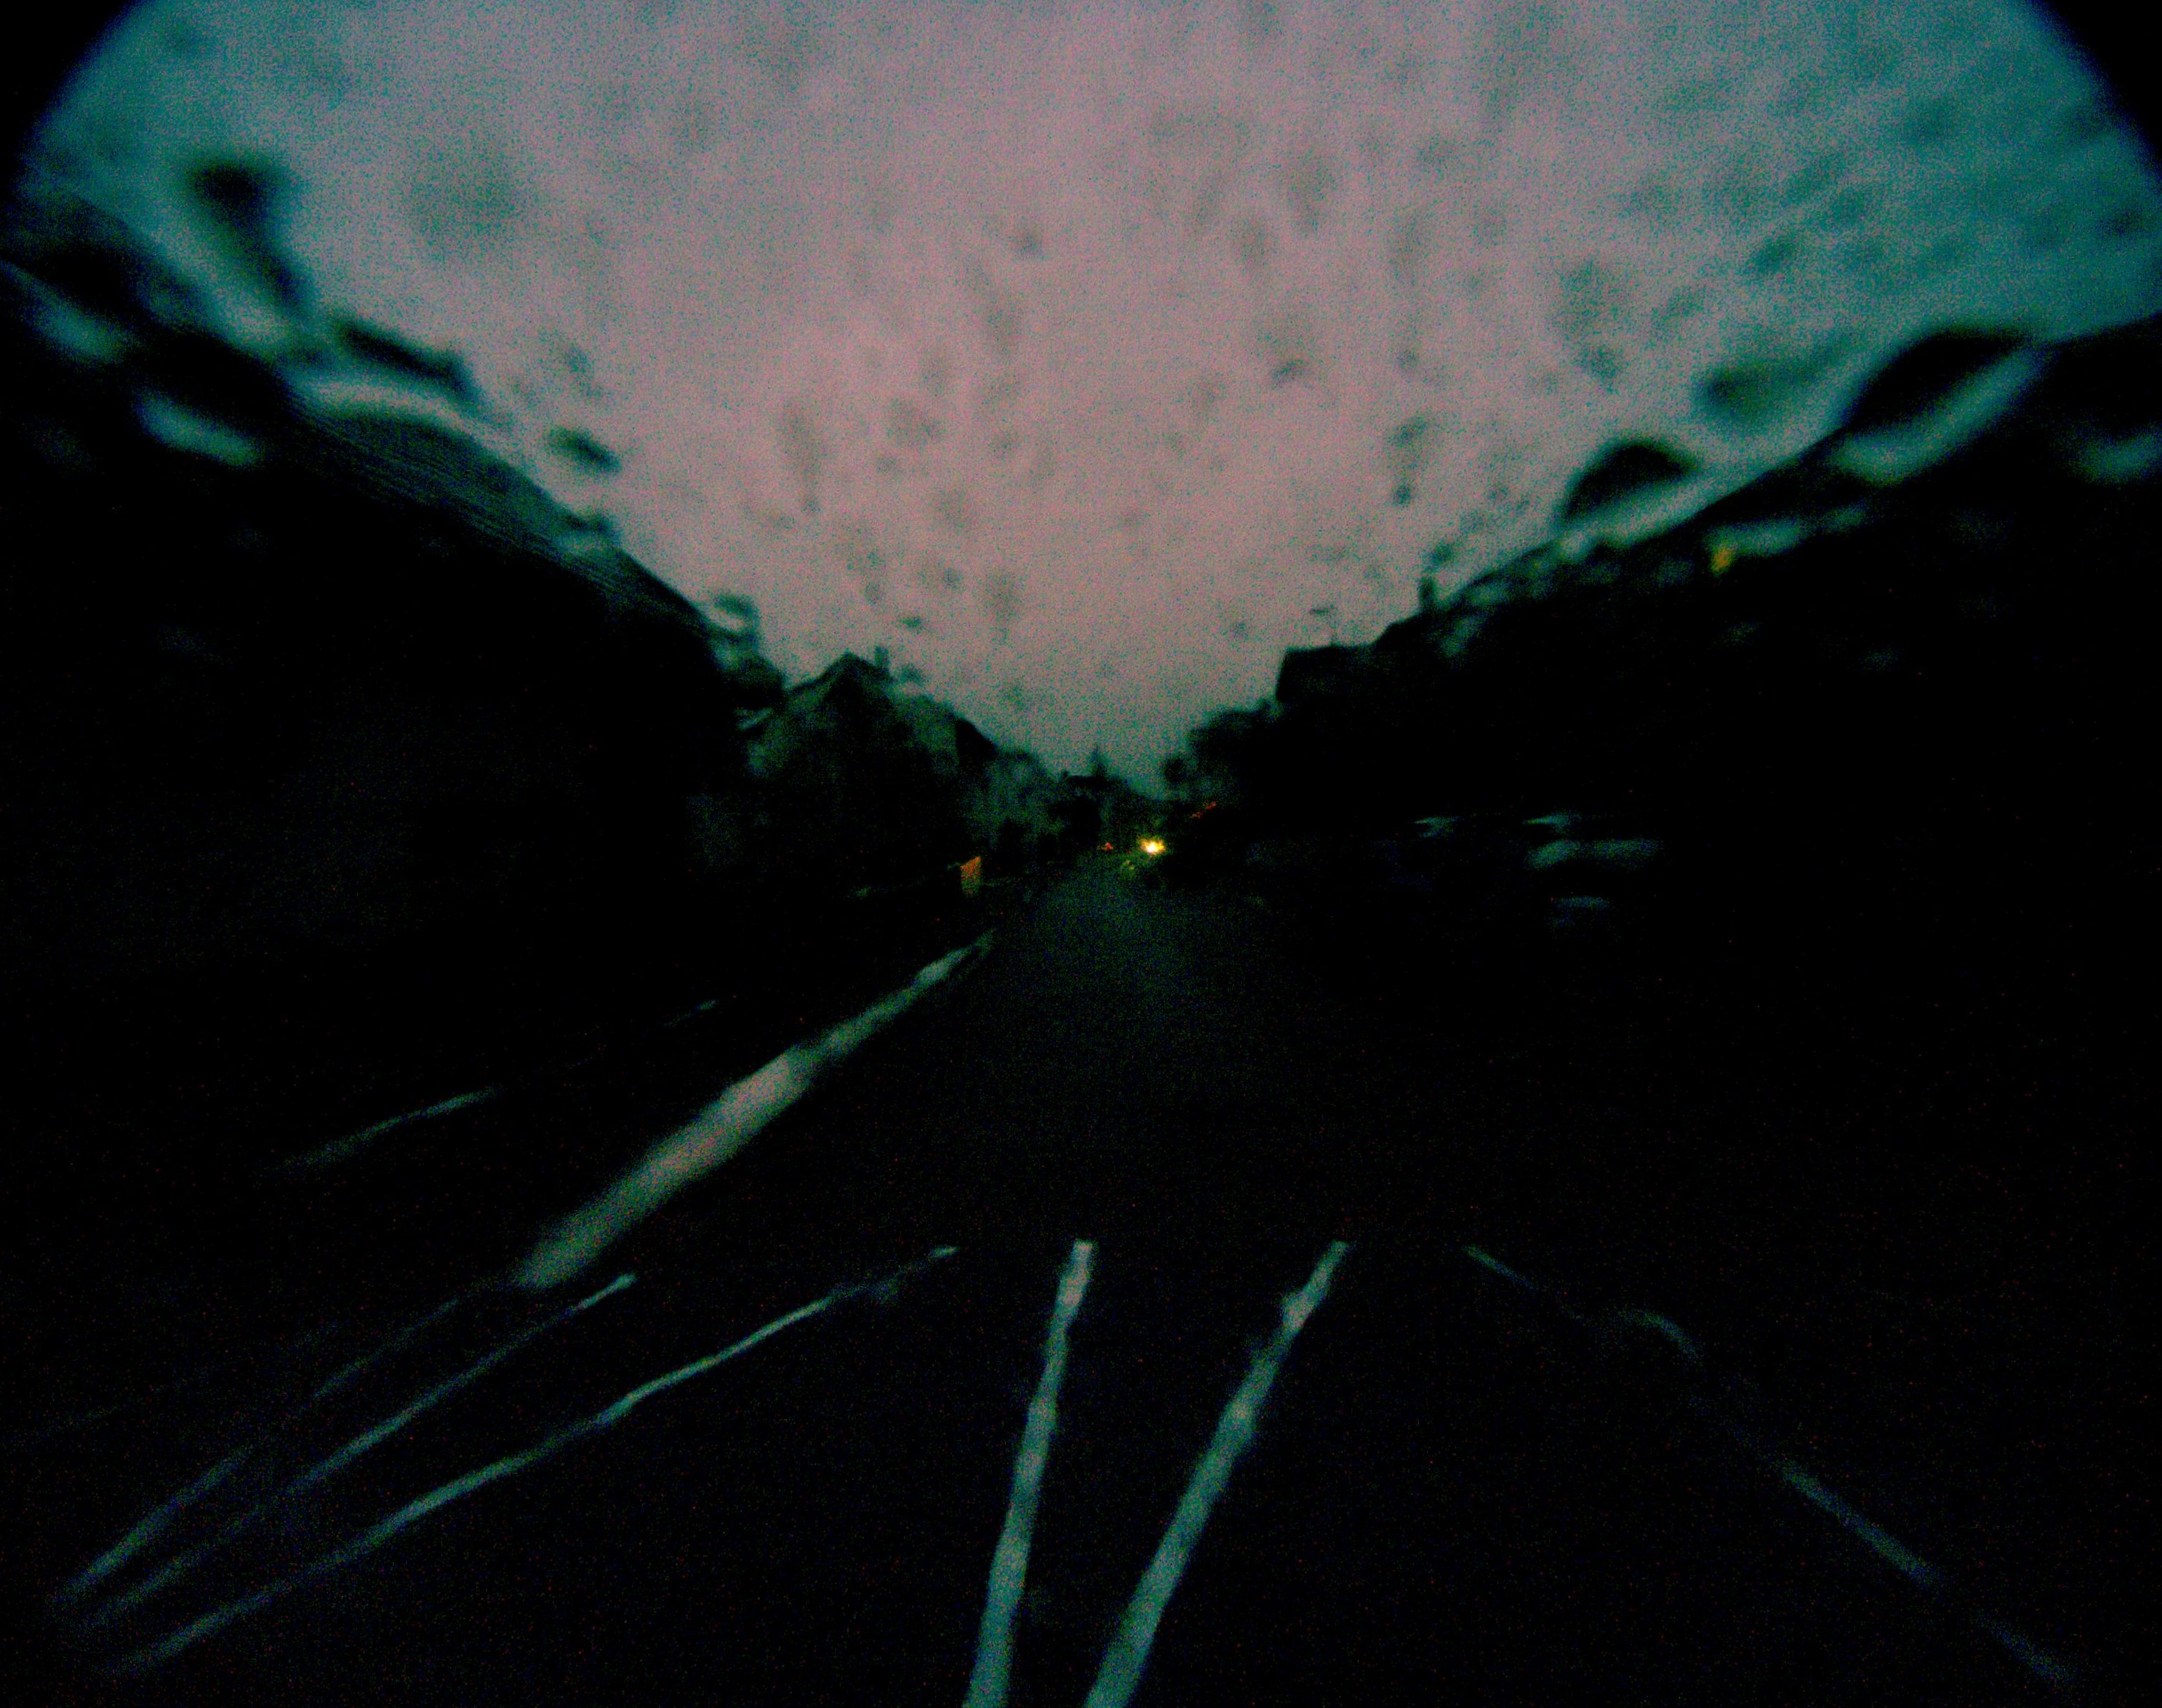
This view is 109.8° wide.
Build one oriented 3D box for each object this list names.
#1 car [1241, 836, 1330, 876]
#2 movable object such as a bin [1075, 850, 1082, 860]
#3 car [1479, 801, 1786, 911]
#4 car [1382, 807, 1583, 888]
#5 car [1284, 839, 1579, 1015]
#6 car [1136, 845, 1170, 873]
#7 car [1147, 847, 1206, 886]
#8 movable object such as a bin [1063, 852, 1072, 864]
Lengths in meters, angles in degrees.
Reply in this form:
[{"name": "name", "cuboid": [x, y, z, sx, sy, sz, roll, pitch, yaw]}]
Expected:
[{"name": "car", "cuboid": [8.977, 0.055, 33.547, 3.471, 1.519, 1.774, -4, 1, 5]}, {"name": "movable object such as a bin", "cuboid": [-0.244, 0.109, 74.330, 0.538, 0.933, 0.690, -3, 2, 10]}, {"name": "car", "cuboid": [9.686, 0.027, 13.668, 3.995, 1.609, 1.889, -4, 1, 7]}, {"name": "car", "cuboid": [10.115, -0.160, 19.405, 3.996, 1.736, 2.000, -3, 1, 3]}, {"name": "car", "cuboid": [3.863, 0.647, 9.243, 1.688, 1.575, 4.174, -2, 2, 1]}, {"name": "car", "cuboid": [4.127, 0.262, 43.885, 1.622, 1.430, 3.655, -2, 2, 1]}, {"name": "car", "cuboid": [3.976, 0.463, 32.333, 1.882, 1.386, 5.074, -2, 2, 1]}, {"name": "movable object such as a bin", "cuboid": [-1.087, 0.346, 62.158, 0.638, 0.912, 0.686, -3, 2, 6]}]
